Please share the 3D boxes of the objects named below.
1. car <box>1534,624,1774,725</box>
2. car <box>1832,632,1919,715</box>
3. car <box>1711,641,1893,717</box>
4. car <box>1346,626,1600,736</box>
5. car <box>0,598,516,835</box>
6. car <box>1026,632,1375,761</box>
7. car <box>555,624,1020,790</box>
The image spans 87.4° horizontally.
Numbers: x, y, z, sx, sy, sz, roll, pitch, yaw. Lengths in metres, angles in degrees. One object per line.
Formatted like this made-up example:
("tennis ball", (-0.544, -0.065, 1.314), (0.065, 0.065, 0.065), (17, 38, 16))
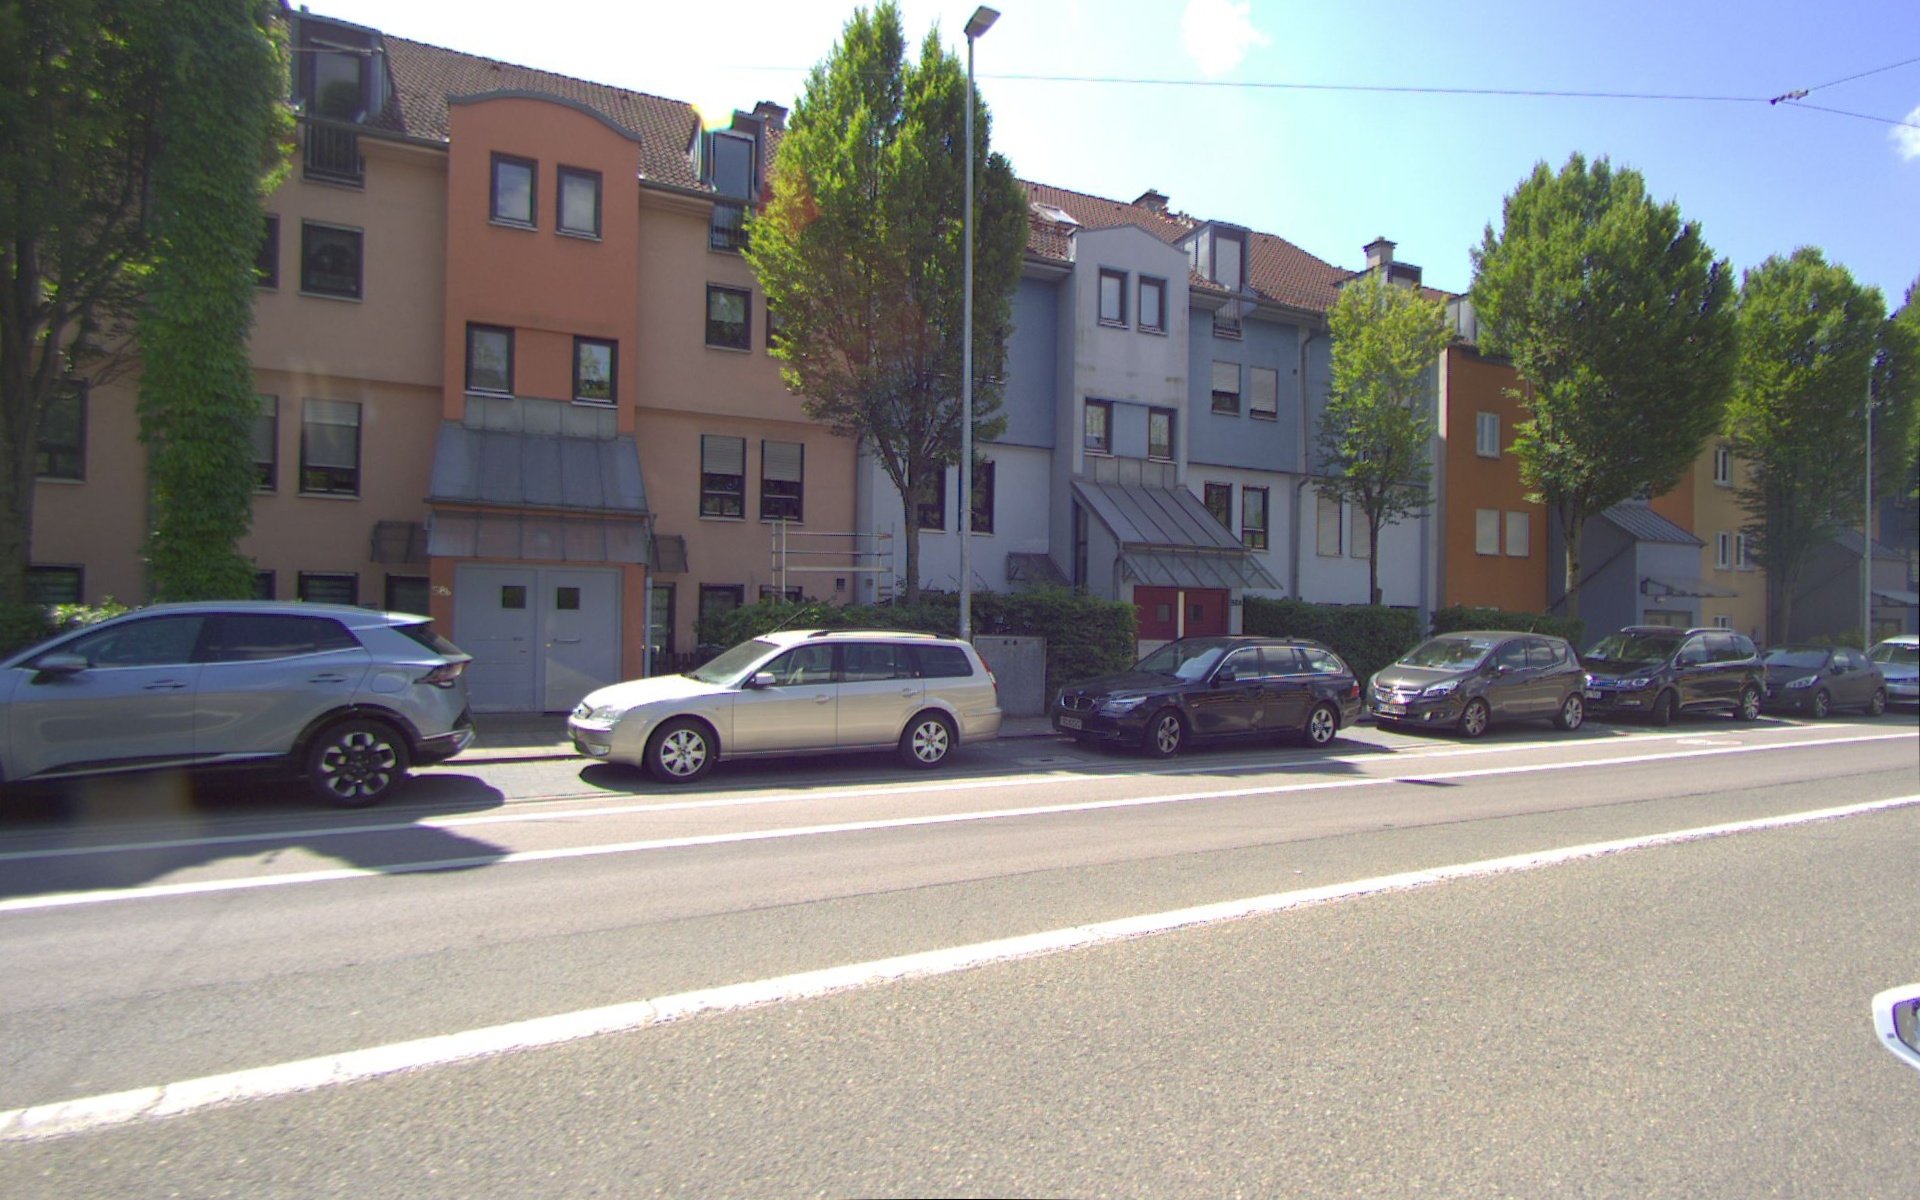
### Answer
("car", (13.287, 1.344, 19.179), (4.825, 1.739, 1.744), (1, -1, -28))
("car", (22.749, 1.671, 23.644), (4.841, 1.775, 1.710), (1, -1, -28))
("car", (18.131, 1.638, 21.602), (4.035, 1.490, 1.592), (1, -1, -27))
("car", (8.568, 1.273, 16.720), (4.231, 1.639, 1.649), (1, -2, -28))
("car", (-6.305, 0.849, 8.346), (4.632, 1.631, 1.648), (1, 1, -30))
("car", (3.393, 1.229, 13.916), (4.766, 1.466, 1.734), (2, 0, -29))
("car", (-1.805, 1.049, 11.151), (4.837, 1.528, 1.648), (1, -1, -29))
